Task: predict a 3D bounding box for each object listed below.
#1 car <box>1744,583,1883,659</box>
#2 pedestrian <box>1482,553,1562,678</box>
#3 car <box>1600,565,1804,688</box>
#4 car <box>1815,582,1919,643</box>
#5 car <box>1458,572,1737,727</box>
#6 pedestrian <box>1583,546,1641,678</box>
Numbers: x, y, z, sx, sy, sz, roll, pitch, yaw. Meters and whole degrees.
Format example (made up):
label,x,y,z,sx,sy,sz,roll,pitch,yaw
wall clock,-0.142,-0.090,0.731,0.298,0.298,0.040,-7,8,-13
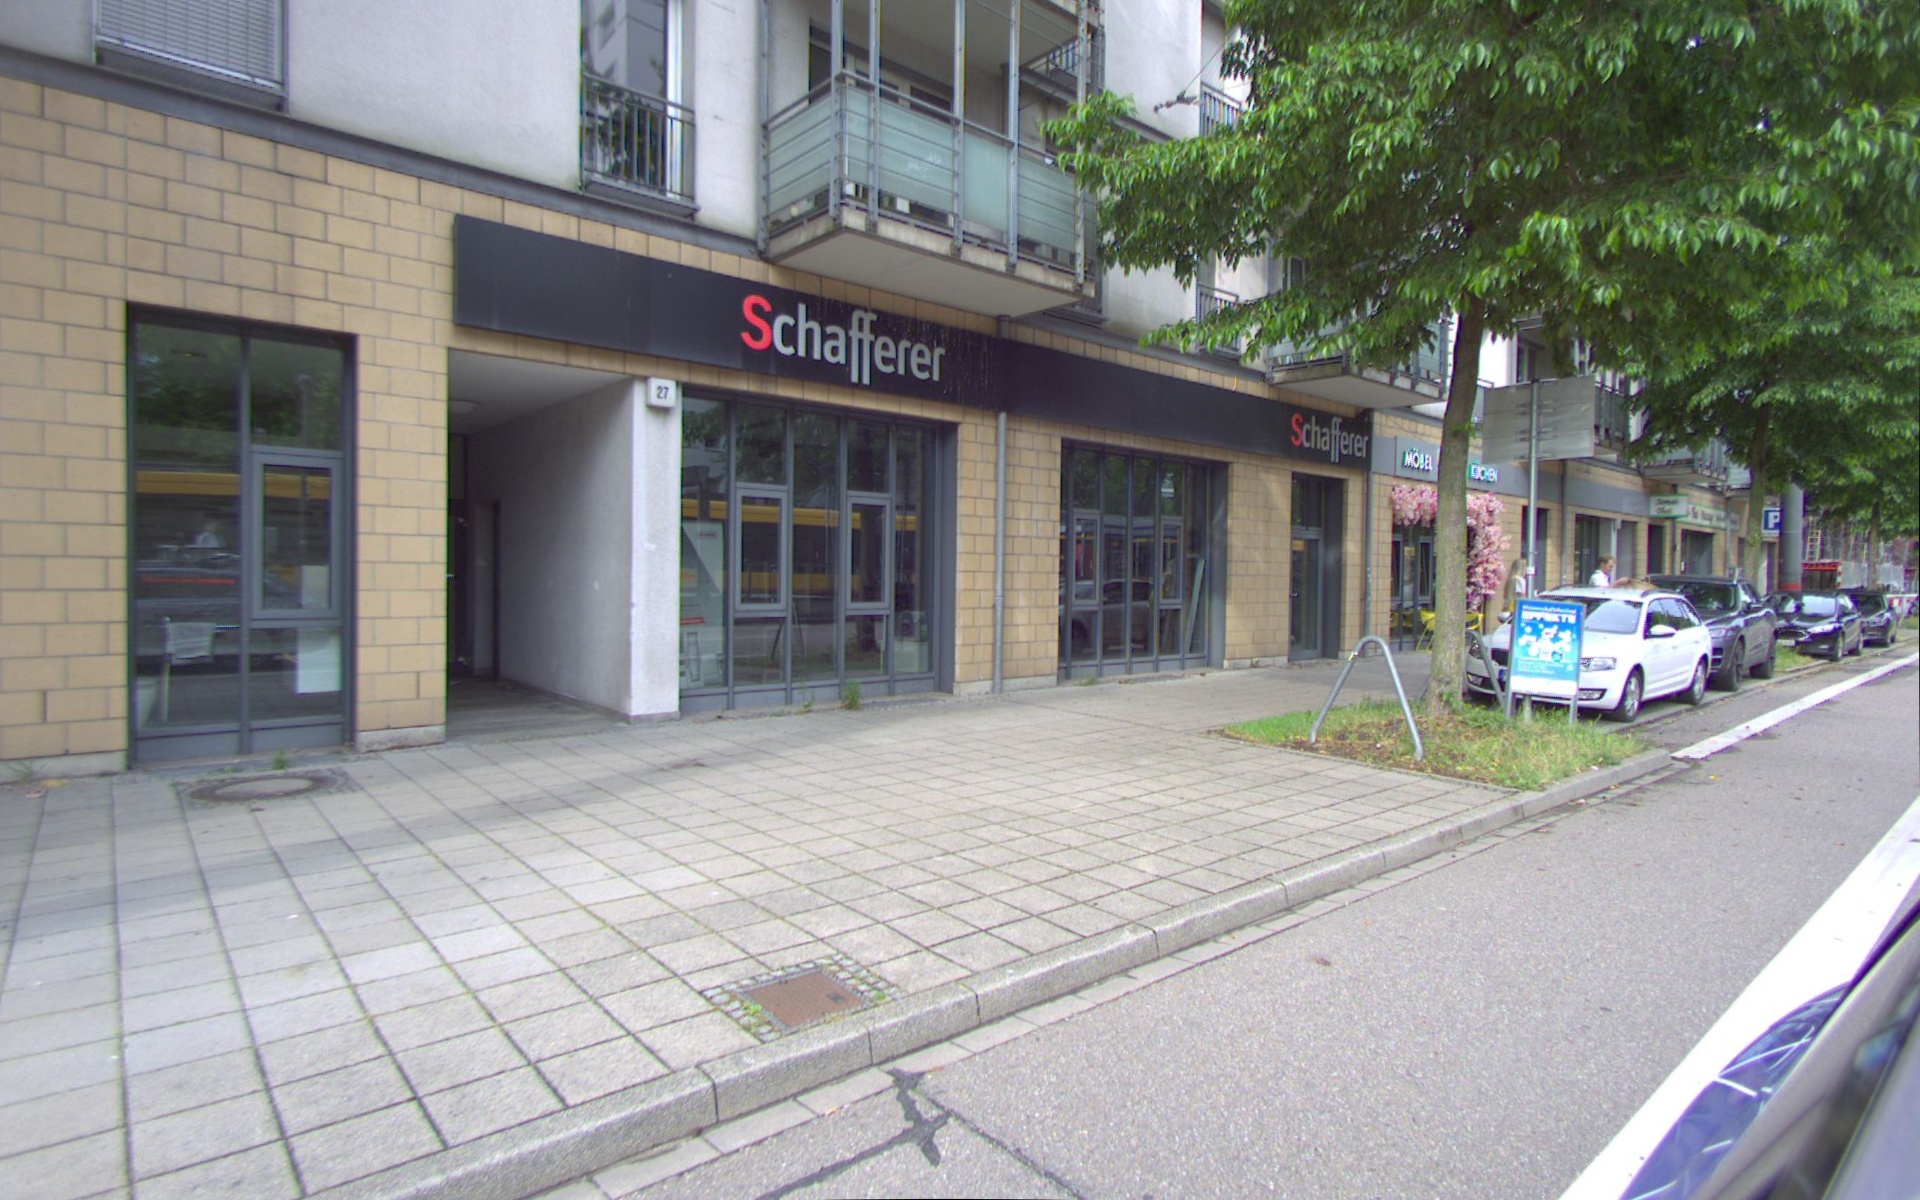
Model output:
label,x,y,z,sx,sy,sz,roll,pitch,yaw
car,18.636,0.388,22.037,4.095,1.394,1.612,-1,5,-41
pedestrian,8.028,0.200,14.472,0.724,1.738,0.618,1,2,0
car,11.797,0.326,16.020,3.732,1.630,1.738,-1,5,-41
car,24.157,0.285,26.864,3.603,1.417,1.612,-1,5,-41
car,8.125,0.484,12.746,4.233,1.539,1.738,-1,5,-41
pedestrian,9.686,0.159,15.039,0.597,1.907,0.646,1,1,43
